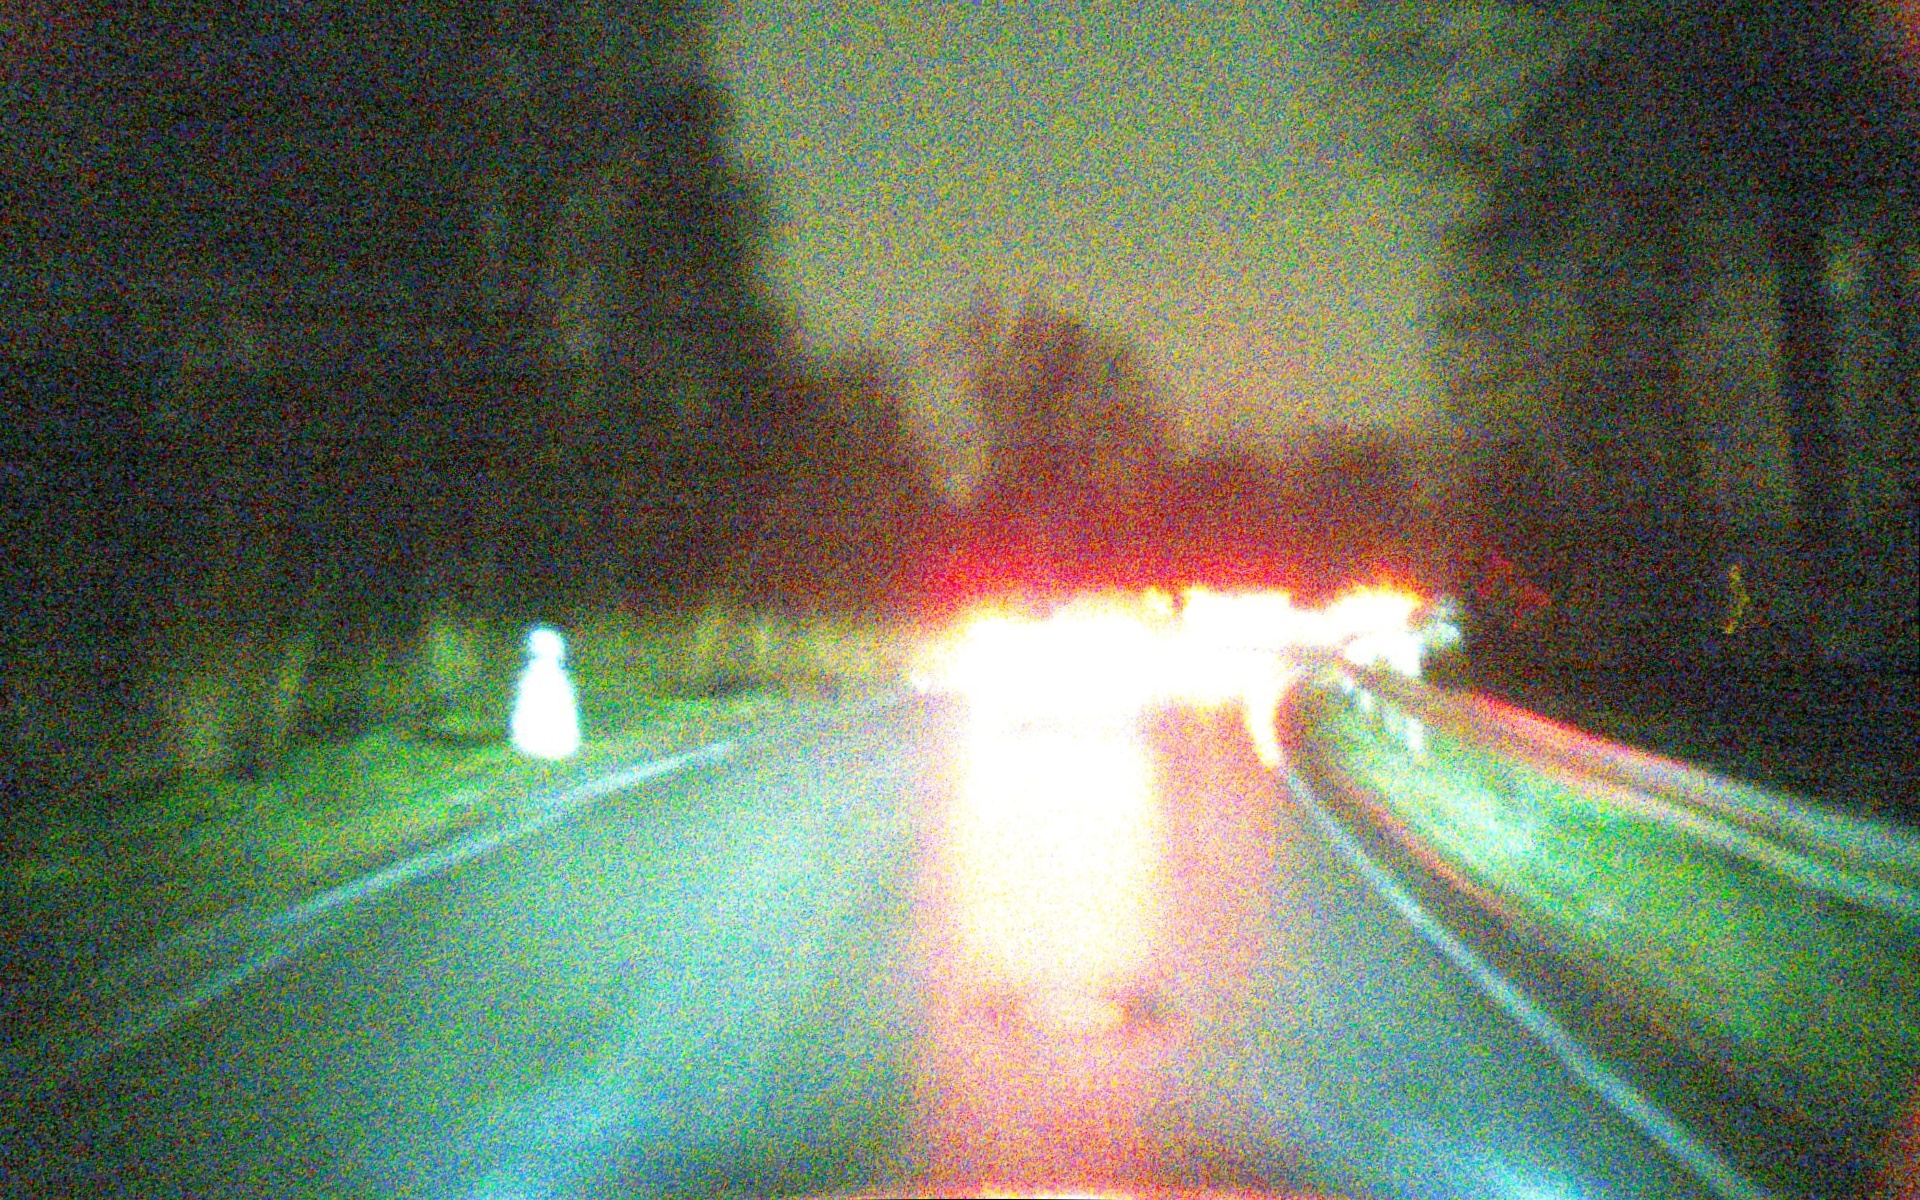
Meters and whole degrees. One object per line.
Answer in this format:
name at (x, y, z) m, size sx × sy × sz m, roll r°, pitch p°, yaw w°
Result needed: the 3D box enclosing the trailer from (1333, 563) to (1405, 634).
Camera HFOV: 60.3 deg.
trailer at (13.651, 0.064, 55.249) m, size 2.034 × 2.049 × 10.655 m, roll -3°, pitch -2°, yaw 14°
